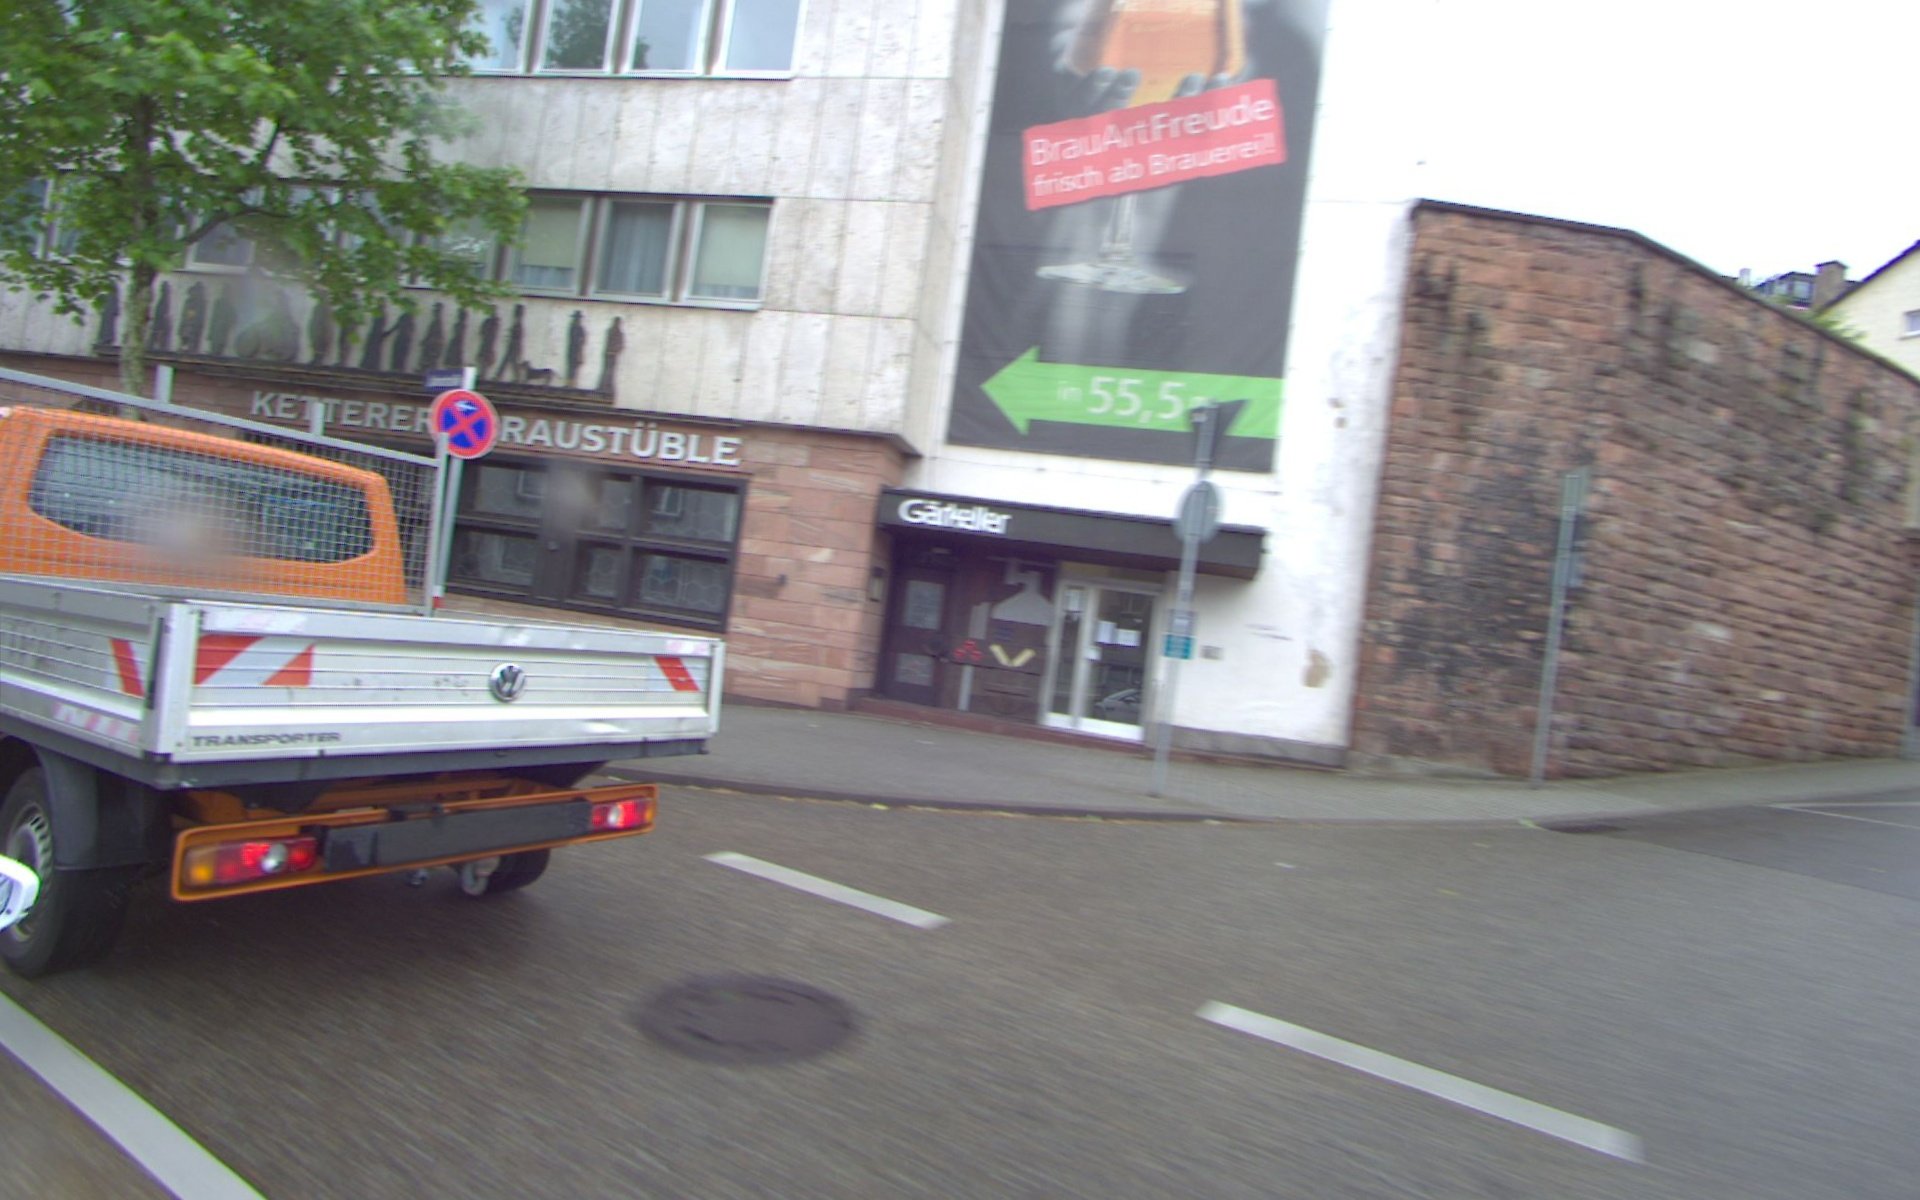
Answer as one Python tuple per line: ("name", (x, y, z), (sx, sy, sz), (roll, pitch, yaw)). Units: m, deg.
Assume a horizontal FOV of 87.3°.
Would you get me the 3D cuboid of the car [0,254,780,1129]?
("car", (-3.710, 0.069, 4.754), (5.450, 2.114, 2.105), (6, -1, 32))
